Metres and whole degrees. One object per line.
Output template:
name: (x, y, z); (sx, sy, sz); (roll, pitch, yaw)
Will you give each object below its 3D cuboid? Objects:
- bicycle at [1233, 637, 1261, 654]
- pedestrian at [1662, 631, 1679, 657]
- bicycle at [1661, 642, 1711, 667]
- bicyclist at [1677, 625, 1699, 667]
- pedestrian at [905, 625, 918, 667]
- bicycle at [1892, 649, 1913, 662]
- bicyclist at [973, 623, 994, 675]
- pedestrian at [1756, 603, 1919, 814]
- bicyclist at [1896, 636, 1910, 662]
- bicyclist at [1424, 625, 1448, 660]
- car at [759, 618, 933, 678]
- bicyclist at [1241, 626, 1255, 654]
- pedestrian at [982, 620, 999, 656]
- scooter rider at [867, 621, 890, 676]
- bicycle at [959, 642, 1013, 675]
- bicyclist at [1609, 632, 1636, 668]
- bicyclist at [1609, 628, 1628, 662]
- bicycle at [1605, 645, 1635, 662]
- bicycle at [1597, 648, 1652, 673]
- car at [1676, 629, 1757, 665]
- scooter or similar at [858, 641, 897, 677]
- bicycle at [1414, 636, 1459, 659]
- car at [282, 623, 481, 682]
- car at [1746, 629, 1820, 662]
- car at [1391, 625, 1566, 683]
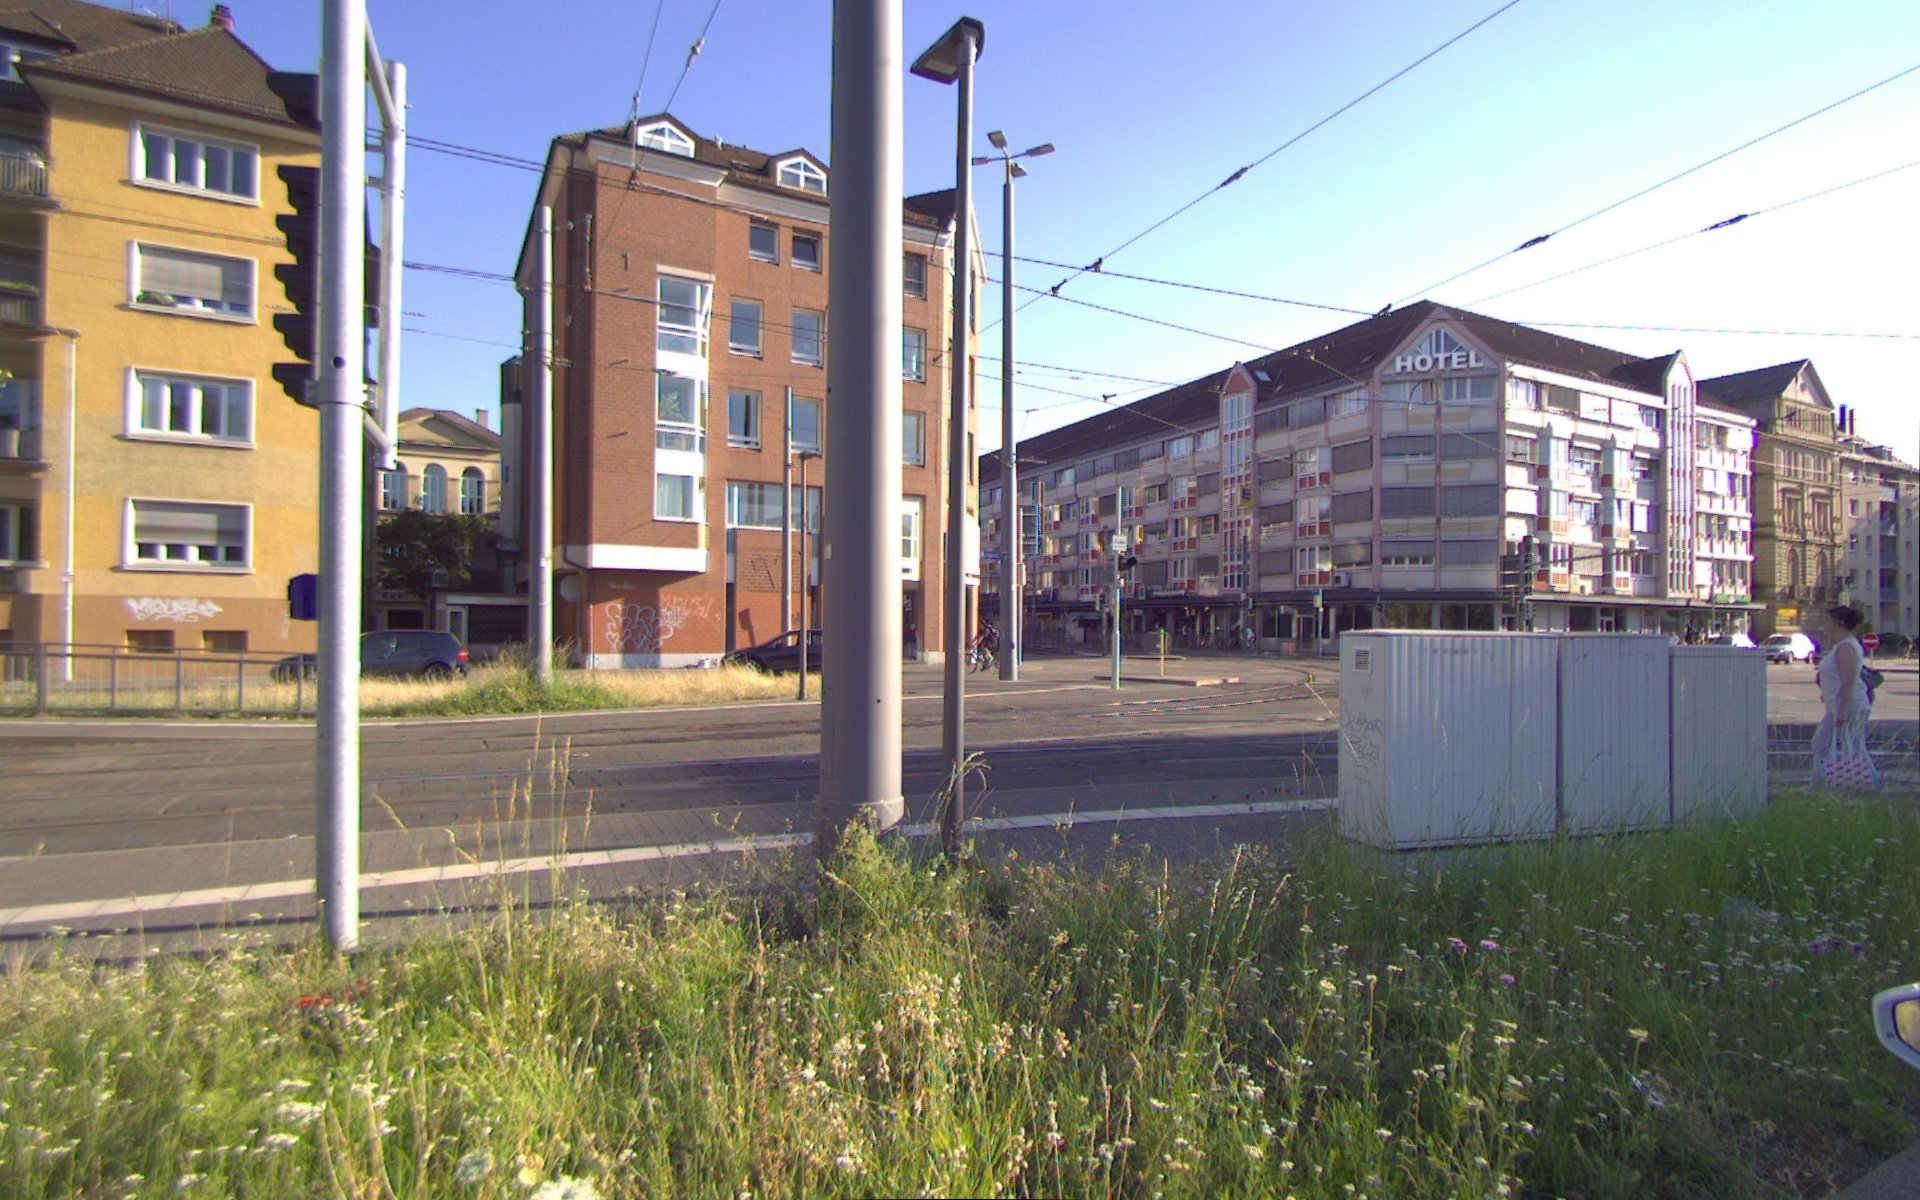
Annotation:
bicycle: (18.150, 2.880, 63.607); (0.535, 1.073, 1.718); (2, -2, -39)
pedestrian: (44.361, 2.758, 62.745); (0.695, 1.626, 0.623); (1, -1, -28)
bicycle: (36.256, 2.720, 50.162); (1.930, 1.216, 0.610); (0, -1, 24)
bicyclist: (36.350, 2.293, 50.134); (0.764, 2.040, 0.604); (0, -1, 23)
pedestrian: (-2.105, 2.001, 43.746); (0.532, 1.831, 0.502); (0, -1, -2)
bicycle: (68.426, 4.014, 72.914); (1.813, 0.927, 0.596); (1, -2, -28)
bicyclist: (0.791, 1.638, 33.925); (0.652, 1.734, 0.539); (0, -1, 8)
pedestrian: (7.216, 0.846, 8.253); (0.647, 1.618, 0.874); (1, -2, -30)
bicyclist: (68.491, 3.529, 72.960); (0.634, 1.886, 0.590); (1, -2, -28)
bicyclist: (24.454, 2.195, 51.598); (0.647, 1.776, 0.893); (1, -2, -33)
car: (-3.285, 1.366, 28.791); (4.702, 1.617, 1.993); (1, -2, -17)
bicyclist: (18.199, 2.540, 63.558); (0.534, 1.734, 0.658); (2, -2, -39)
pedestrian: (1.722, 2.132, 56.930); (0.713, 2.040, 0.712); (1, -1, -26)
scooter rider: (-2.551, 1.521, 31.572); (0.652, 1.734, 0.527); (0, -1, 2)
bicycle: (0.881, 1.965, 33.903); (1.745, 1.086, 0.535); (0, -2, 8)
bicyclist: (32.481, 2.445, 49.237); (0.643, 1.776, 0.893); (1, -2, -33)
bicyclist: (35.983, 2.455, 54.889); (0.634, 1.886, 0.590); (1, -2, -28)
bicycle: (35.997, 2.923, 54.801); (1.813, 0.927, 0.596); (1, -2, -28)
bicycle: (32.521, 2.927, 49.174); (0.652, 1.152, 2.161); (1, -2, -33)
car: (41.066, 2.546, 54.514); (3.949, 1.884, 1.986); (1, -2, -28)
scooter or similar: (-2.576, 1.852, 31.567); (1.152, 1.086, 0.530); (0, -1, 1)
bicycle: (24.449, 2.427, 51.595); (0.651, 1.152, 2.081); (1, -2, -33)
car: (-13.632, 1.221, 23.924); (3.950, 1.305, 1.834); (1, -2, -28)
car: (48.100, 2.640, 58.690); (3.949, 1.884, 1.986); (1, -2, -28)
car: (15.197, 1.549, 29.716); (4.258, 1.617, 2.001); (0, -2, 15)
